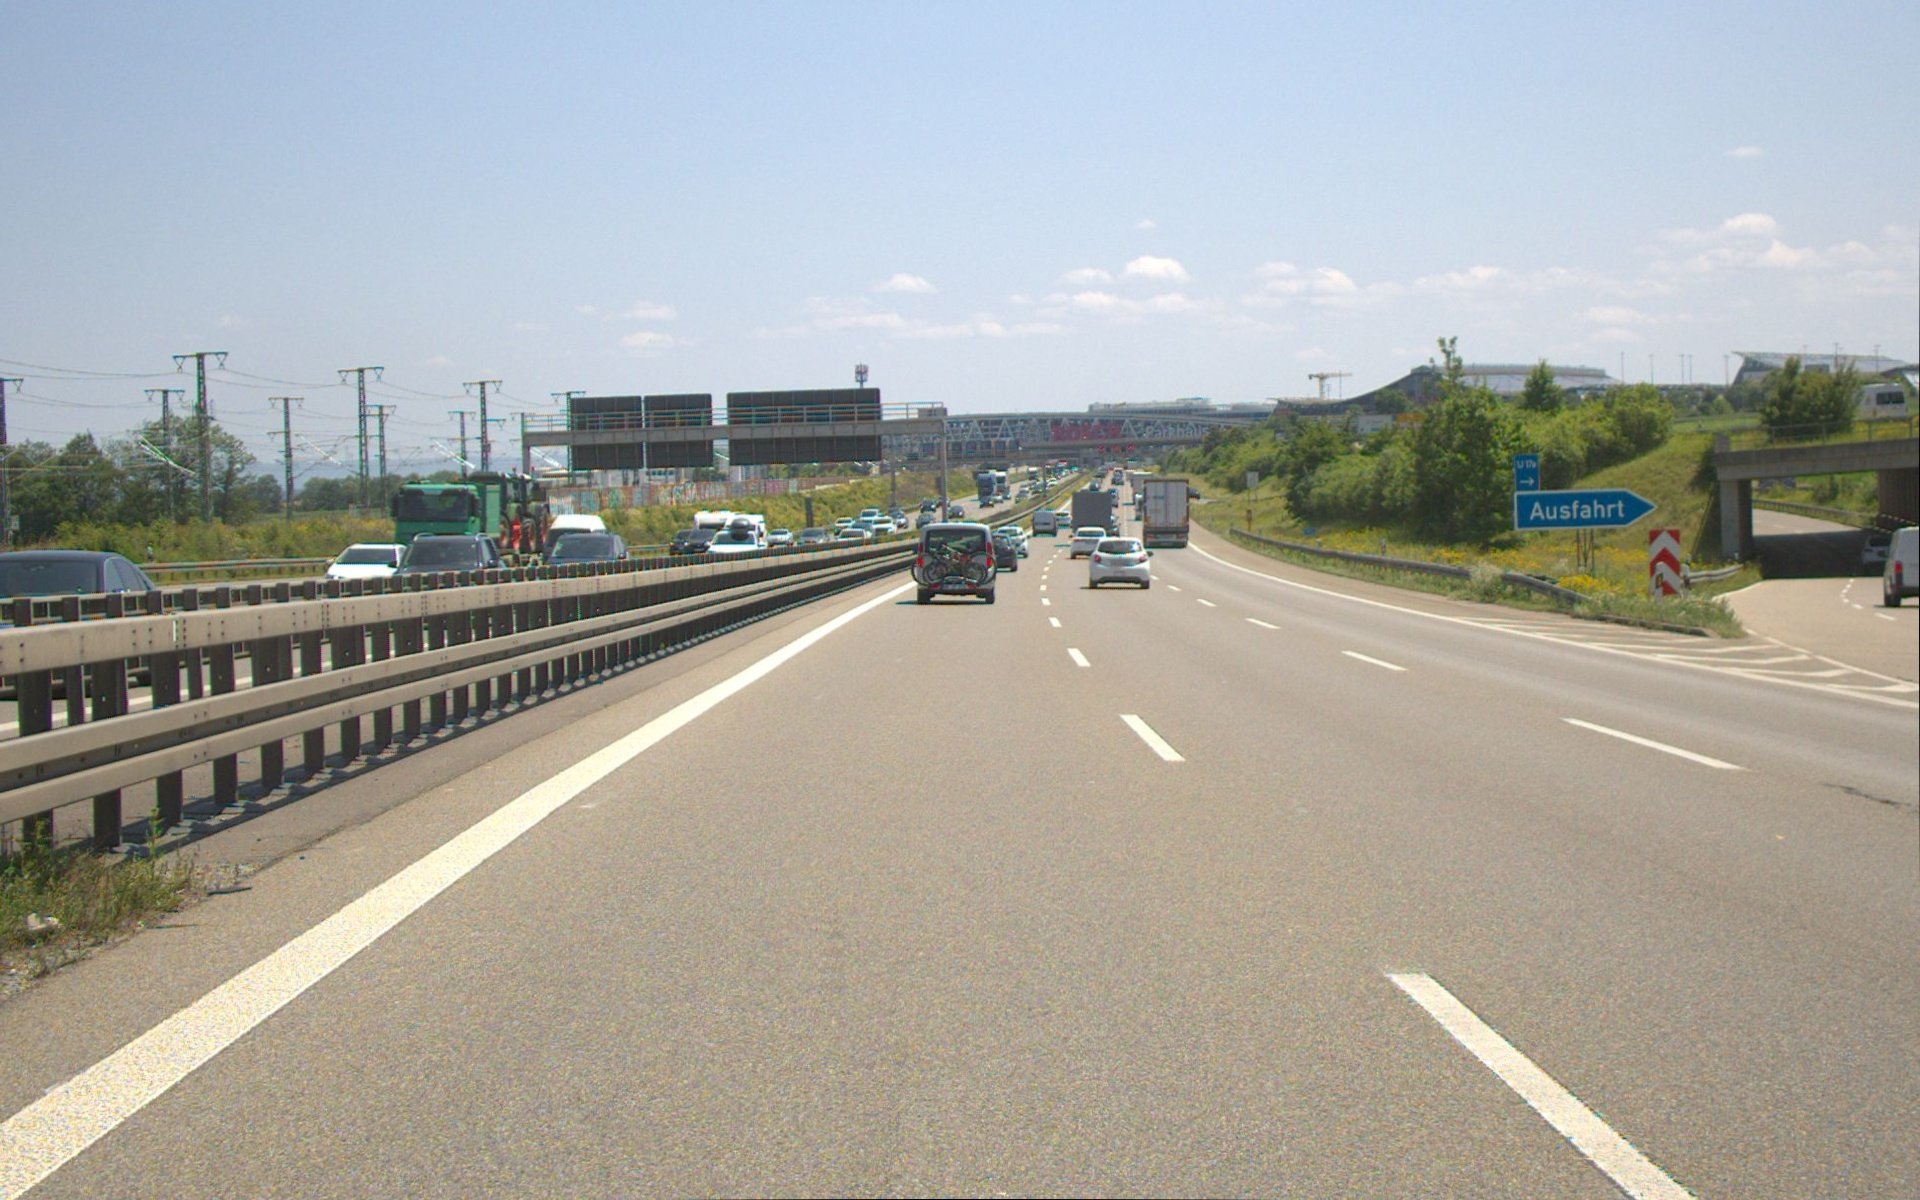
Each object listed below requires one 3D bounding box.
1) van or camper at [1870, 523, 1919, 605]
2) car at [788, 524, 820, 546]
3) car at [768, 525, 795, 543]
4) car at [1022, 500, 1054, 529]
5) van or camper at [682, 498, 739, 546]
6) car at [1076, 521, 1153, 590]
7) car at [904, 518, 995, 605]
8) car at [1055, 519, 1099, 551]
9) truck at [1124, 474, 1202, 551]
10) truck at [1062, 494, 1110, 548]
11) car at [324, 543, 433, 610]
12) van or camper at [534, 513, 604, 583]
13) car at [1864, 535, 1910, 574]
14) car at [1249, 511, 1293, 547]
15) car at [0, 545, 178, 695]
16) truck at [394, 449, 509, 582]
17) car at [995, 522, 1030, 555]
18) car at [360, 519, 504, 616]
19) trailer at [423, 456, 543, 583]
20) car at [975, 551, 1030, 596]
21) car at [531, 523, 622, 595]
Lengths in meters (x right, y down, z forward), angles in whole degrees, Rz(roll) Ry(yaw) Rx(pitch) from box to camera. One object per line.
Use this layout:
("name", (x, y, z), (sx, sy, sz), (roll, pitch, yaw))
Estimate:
("van or camper", (24.060, -0.888, 86.104), (2.157, 2.007, 4.302), (0, 0, 11))
("car", (-9.368, -3.910, 206.722), (1.693, 1.342, 4.000), (0, 1, 1))
("car", (-13.405, -5.005, 258.598), (1.765, 1.342, 4.000), (0, 1, 1))
("car", (5.764, -6.319, 253.795), (2.186, 1.996, 4.001), (0, 4, -1))
("van or camper", (-14.020, -4.394, 193.493), (2.517, 2.656, 8.064), (0, 1, 1))
("car", (4.390, -1.250, 98.349), (1.926, 1.912, 4.518), (0, 0, -1))
("car", (-0.204, -0.860, 78.625), (1.927, 1.912, 4.948), (0, 0, 2))
("car", (5.495, -3.056, 161.612), (1.982, 1.468, 4.000), (0, 0, 1))
("truck", (11.908, -5.214, 202.838), (4.039, 4.247, 11.758), (0, 3, 1))
("truck", (7.728, -4.858, 212.112), (2.702, 3.098, 10.659), (0, 0, 1))
("car", (-13.382, -0.564, 79.335), (1.756, 1.476, 4.634), (0, 1, 0))
("van or camper", (-12.792, -1.715, 112.650), (1.756, 2.214, 4.942), (0, 1, 0))
("car", (42.827, -2.108, 158.891), (1.995, 1.744, 3.997), (0, 0, 14))
("car", (17.090, -3.894, 188.800), (1.926, 1.912, 4.518), (0, 0, -1))
("car", (-9.770, 0.157, 36.476), (1.841, 1.455, 4.997), (0, 1, 0))
("truck", (-16.718, -2.705, 113.398), (2.759, 4.230, 6.978), (0, 0, 0))
("car", (2.533, -2.959, 165.557), (1.576, 1.547, 3.964), (0, 0, 2))
("car", (-9.449, -0.607, 61.835), (1.756, 1.663, 4.698), (0, 1, 2))
("trailer", (-16.804, -2.751, 121.768), (2.759, 4.230, 11.201), (0, 0, 0))
("car", (1.604, -0.976, 127.935), (1.927, 1.621, 4.517), (0, 0, 2))
("car", (-9.452, -1.030, 85.008), (1.756, 1.735, 4.722), (0, 1, 0))
